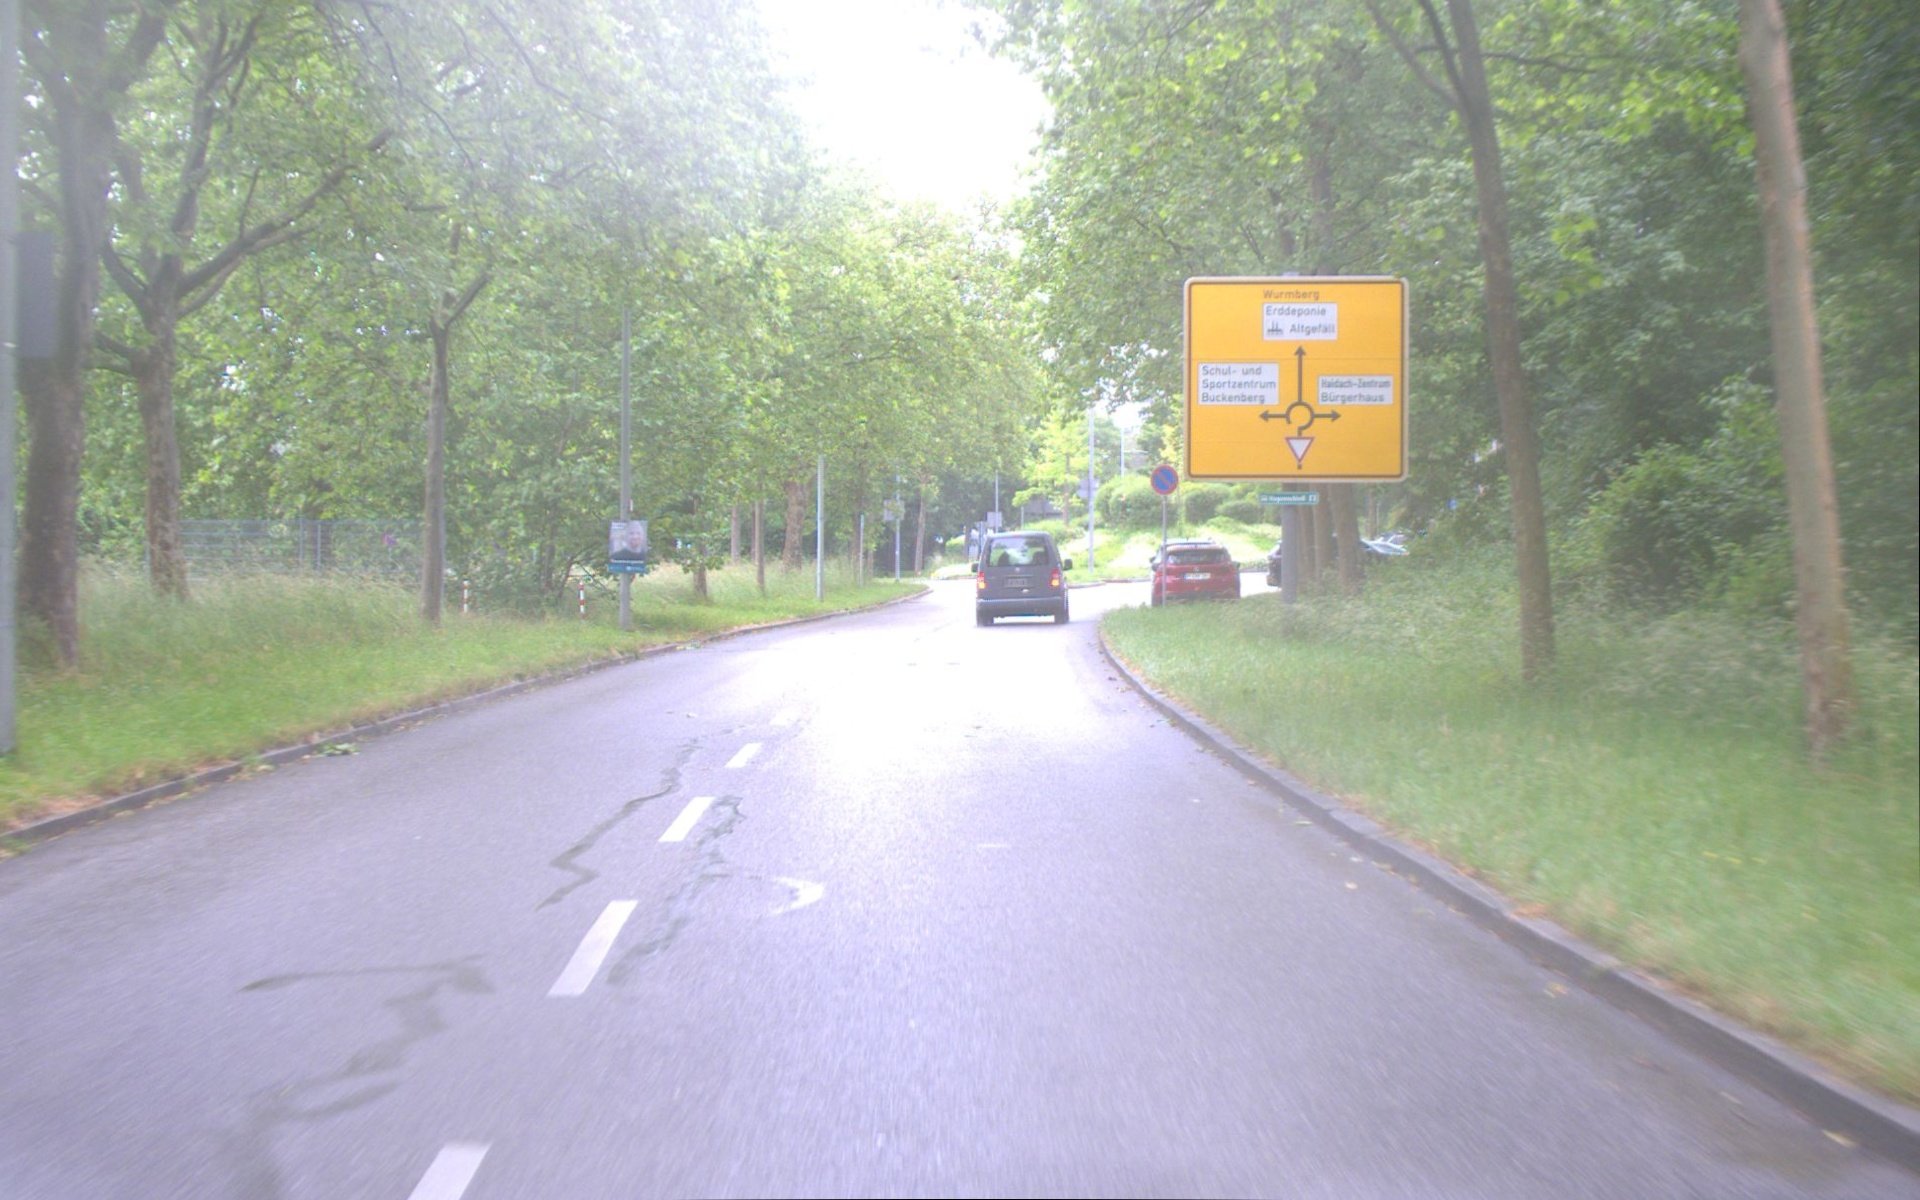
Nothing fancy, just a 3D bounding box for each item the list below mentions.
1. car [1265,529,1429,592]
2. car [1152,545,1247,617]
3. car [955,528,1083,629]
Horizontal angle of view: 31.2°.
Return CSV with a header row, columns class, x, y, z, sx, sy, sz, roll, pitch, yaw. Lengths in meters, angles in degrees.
class,x,y,z,sx,sy,sz,roll,pitch,yaw
car,10.675,-1.107,94.945,4.471,1.674,1.767,0,2,6
car,4.803,-0.389,69.004,1.797,1.367,3.743,-2,0,4
car,1.202,-0.457,68.433,1.919,1.795,3.789,-4,1,9
